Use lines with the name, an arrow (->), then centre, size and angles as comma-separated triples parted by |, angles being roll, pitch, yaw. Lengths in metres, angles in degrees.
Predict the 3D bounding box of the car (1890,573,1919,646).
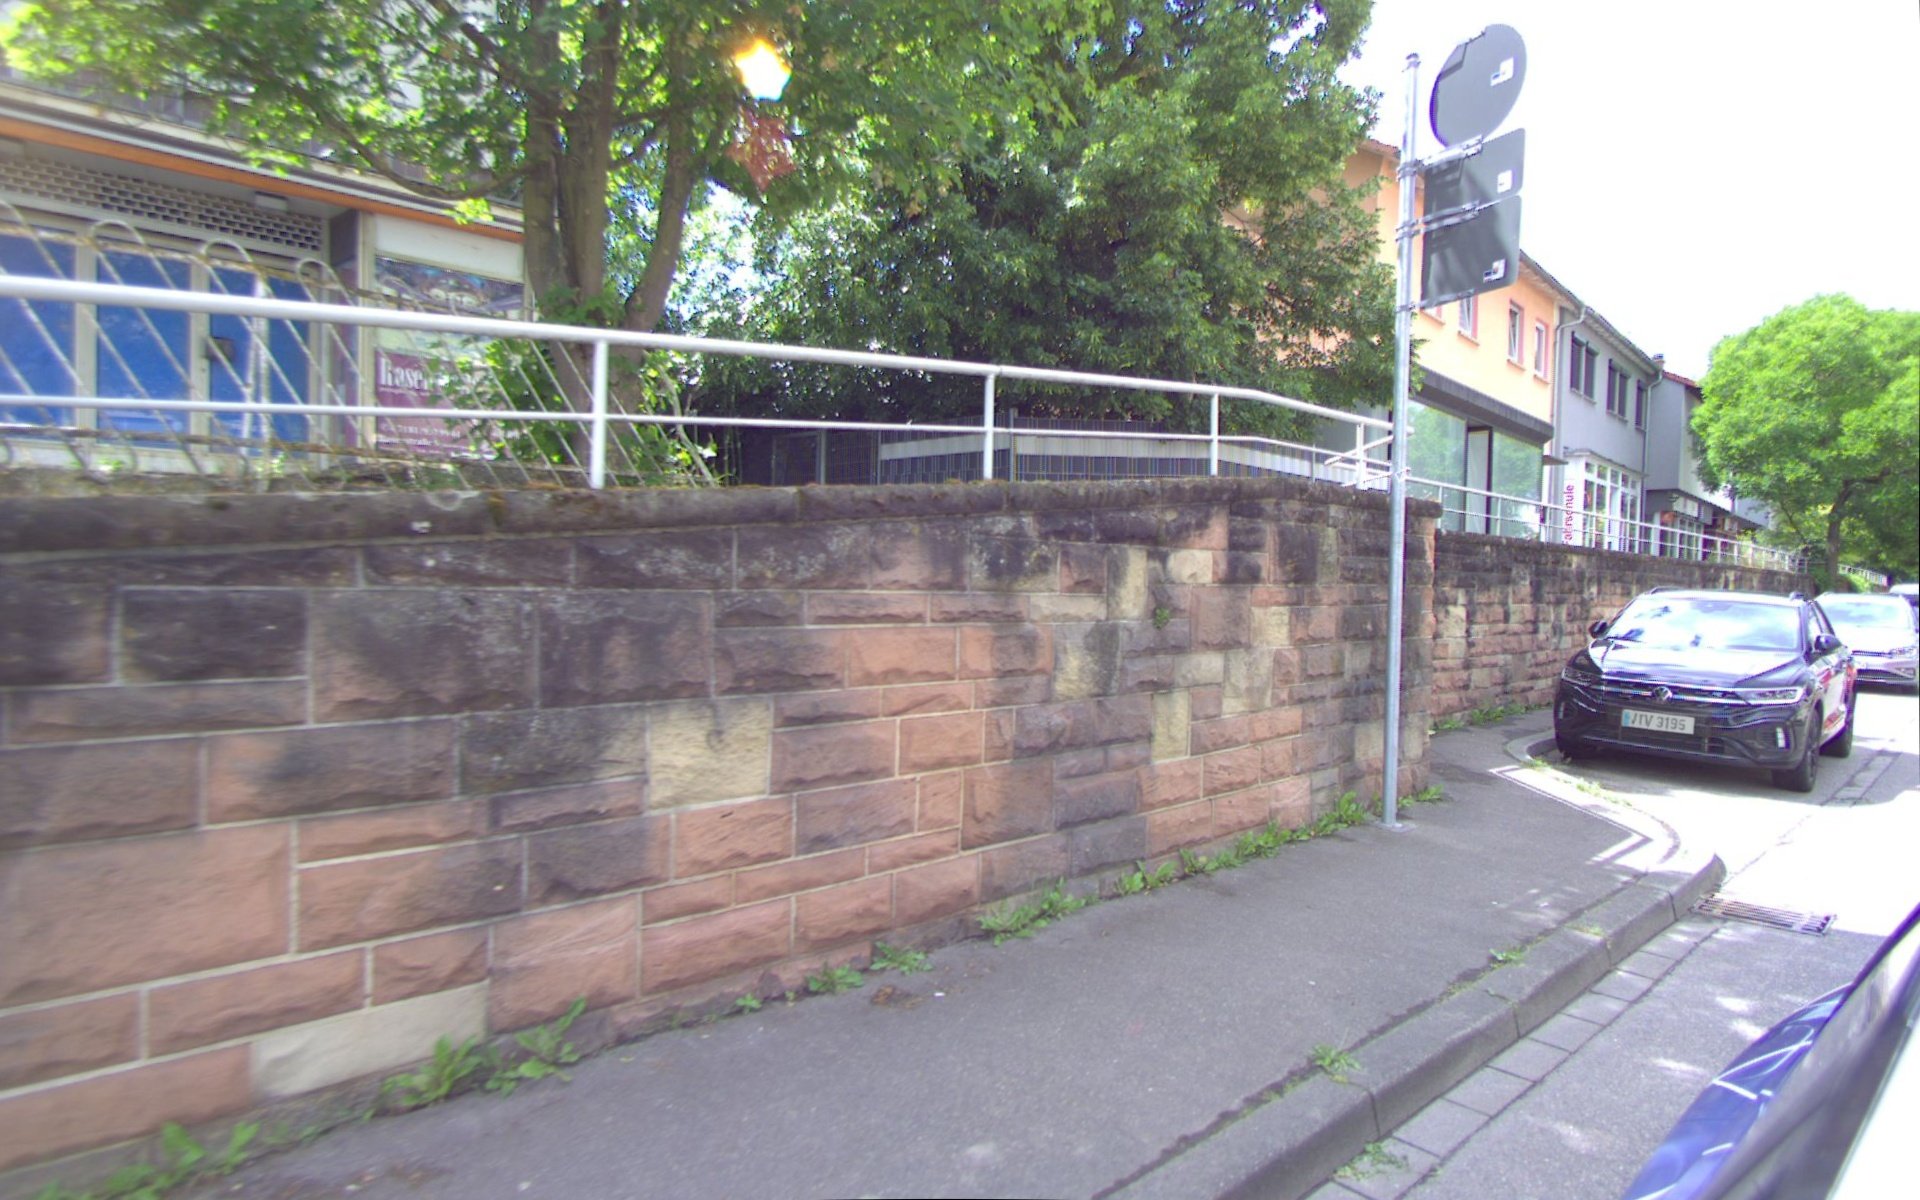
car -> 28.708, 0.262, 29.577 | 4.886, 2.033, 1.851 | -1, 2, -43

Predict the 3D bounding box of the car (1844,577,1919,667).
car -> 20.194, 0.426, 21.459 | 3.933, 1.737, 1.757 | -1, 2, -43

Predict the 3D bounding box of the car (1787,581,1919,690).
car -> 15.698, 0.535, 17.358 | 4.104, 1.587, 1.758 | 0, 3, -43

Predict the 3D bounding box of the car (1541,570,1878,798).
car -> 6.952, 0.569, 9.233 | 3.954, 1.599, 1.757 | -1, 2, -43

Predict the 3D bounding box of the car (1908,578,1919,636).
car -> 34.642, 0.258, 35.381 | 4.886, 1.961, 1.851 | -1, 2, -43
